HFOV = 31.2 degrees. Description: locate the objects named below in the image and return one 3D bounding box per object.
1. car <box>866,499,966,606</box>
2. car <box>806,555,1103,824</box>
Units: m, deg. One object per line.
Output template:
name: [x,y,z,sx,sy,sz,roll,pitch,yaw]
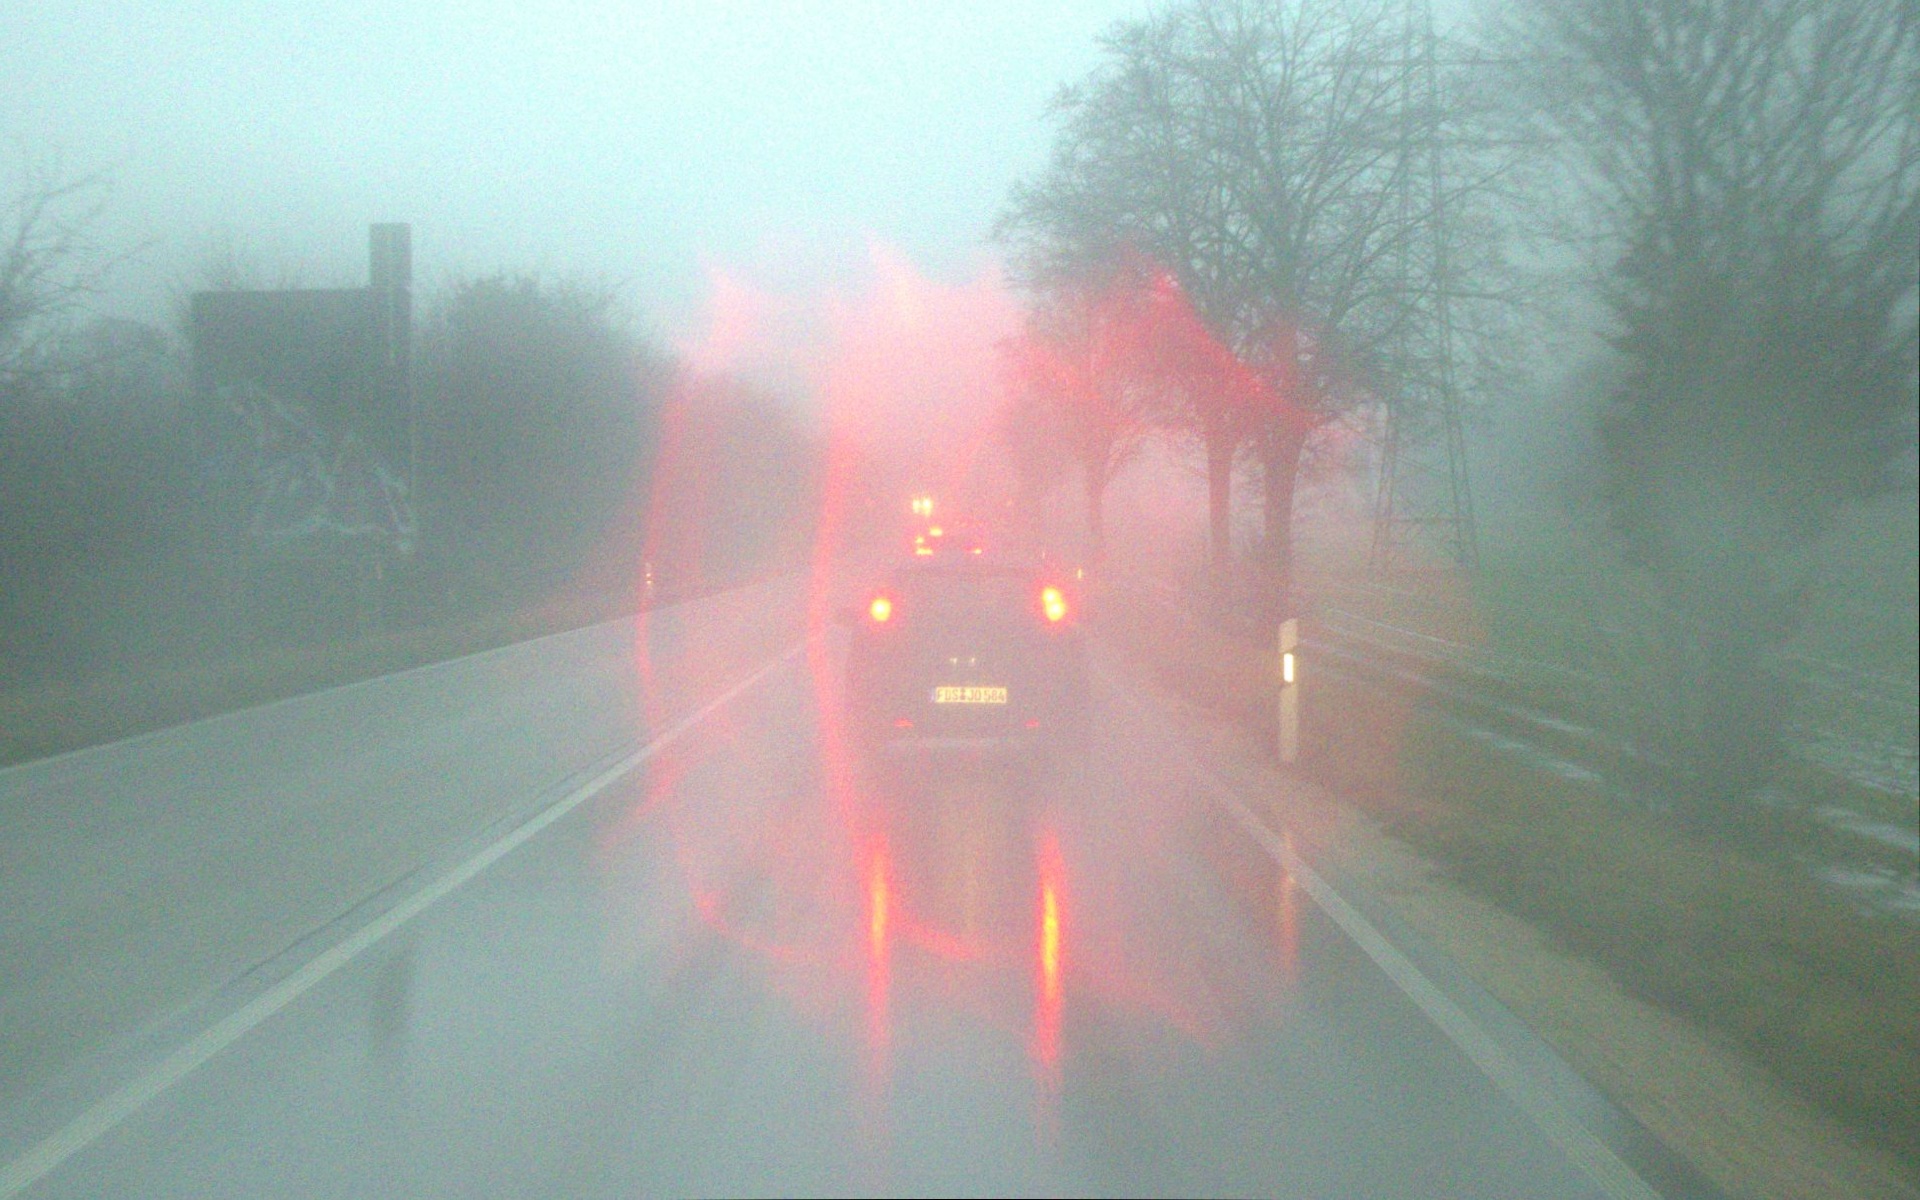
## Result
car: [-1.004,-1.124,79.894,1.994,2.006,4.001,4,6,2]
car: [-0.019,0.576,25.162,1.993,1.746,4.000,0,2,0]
